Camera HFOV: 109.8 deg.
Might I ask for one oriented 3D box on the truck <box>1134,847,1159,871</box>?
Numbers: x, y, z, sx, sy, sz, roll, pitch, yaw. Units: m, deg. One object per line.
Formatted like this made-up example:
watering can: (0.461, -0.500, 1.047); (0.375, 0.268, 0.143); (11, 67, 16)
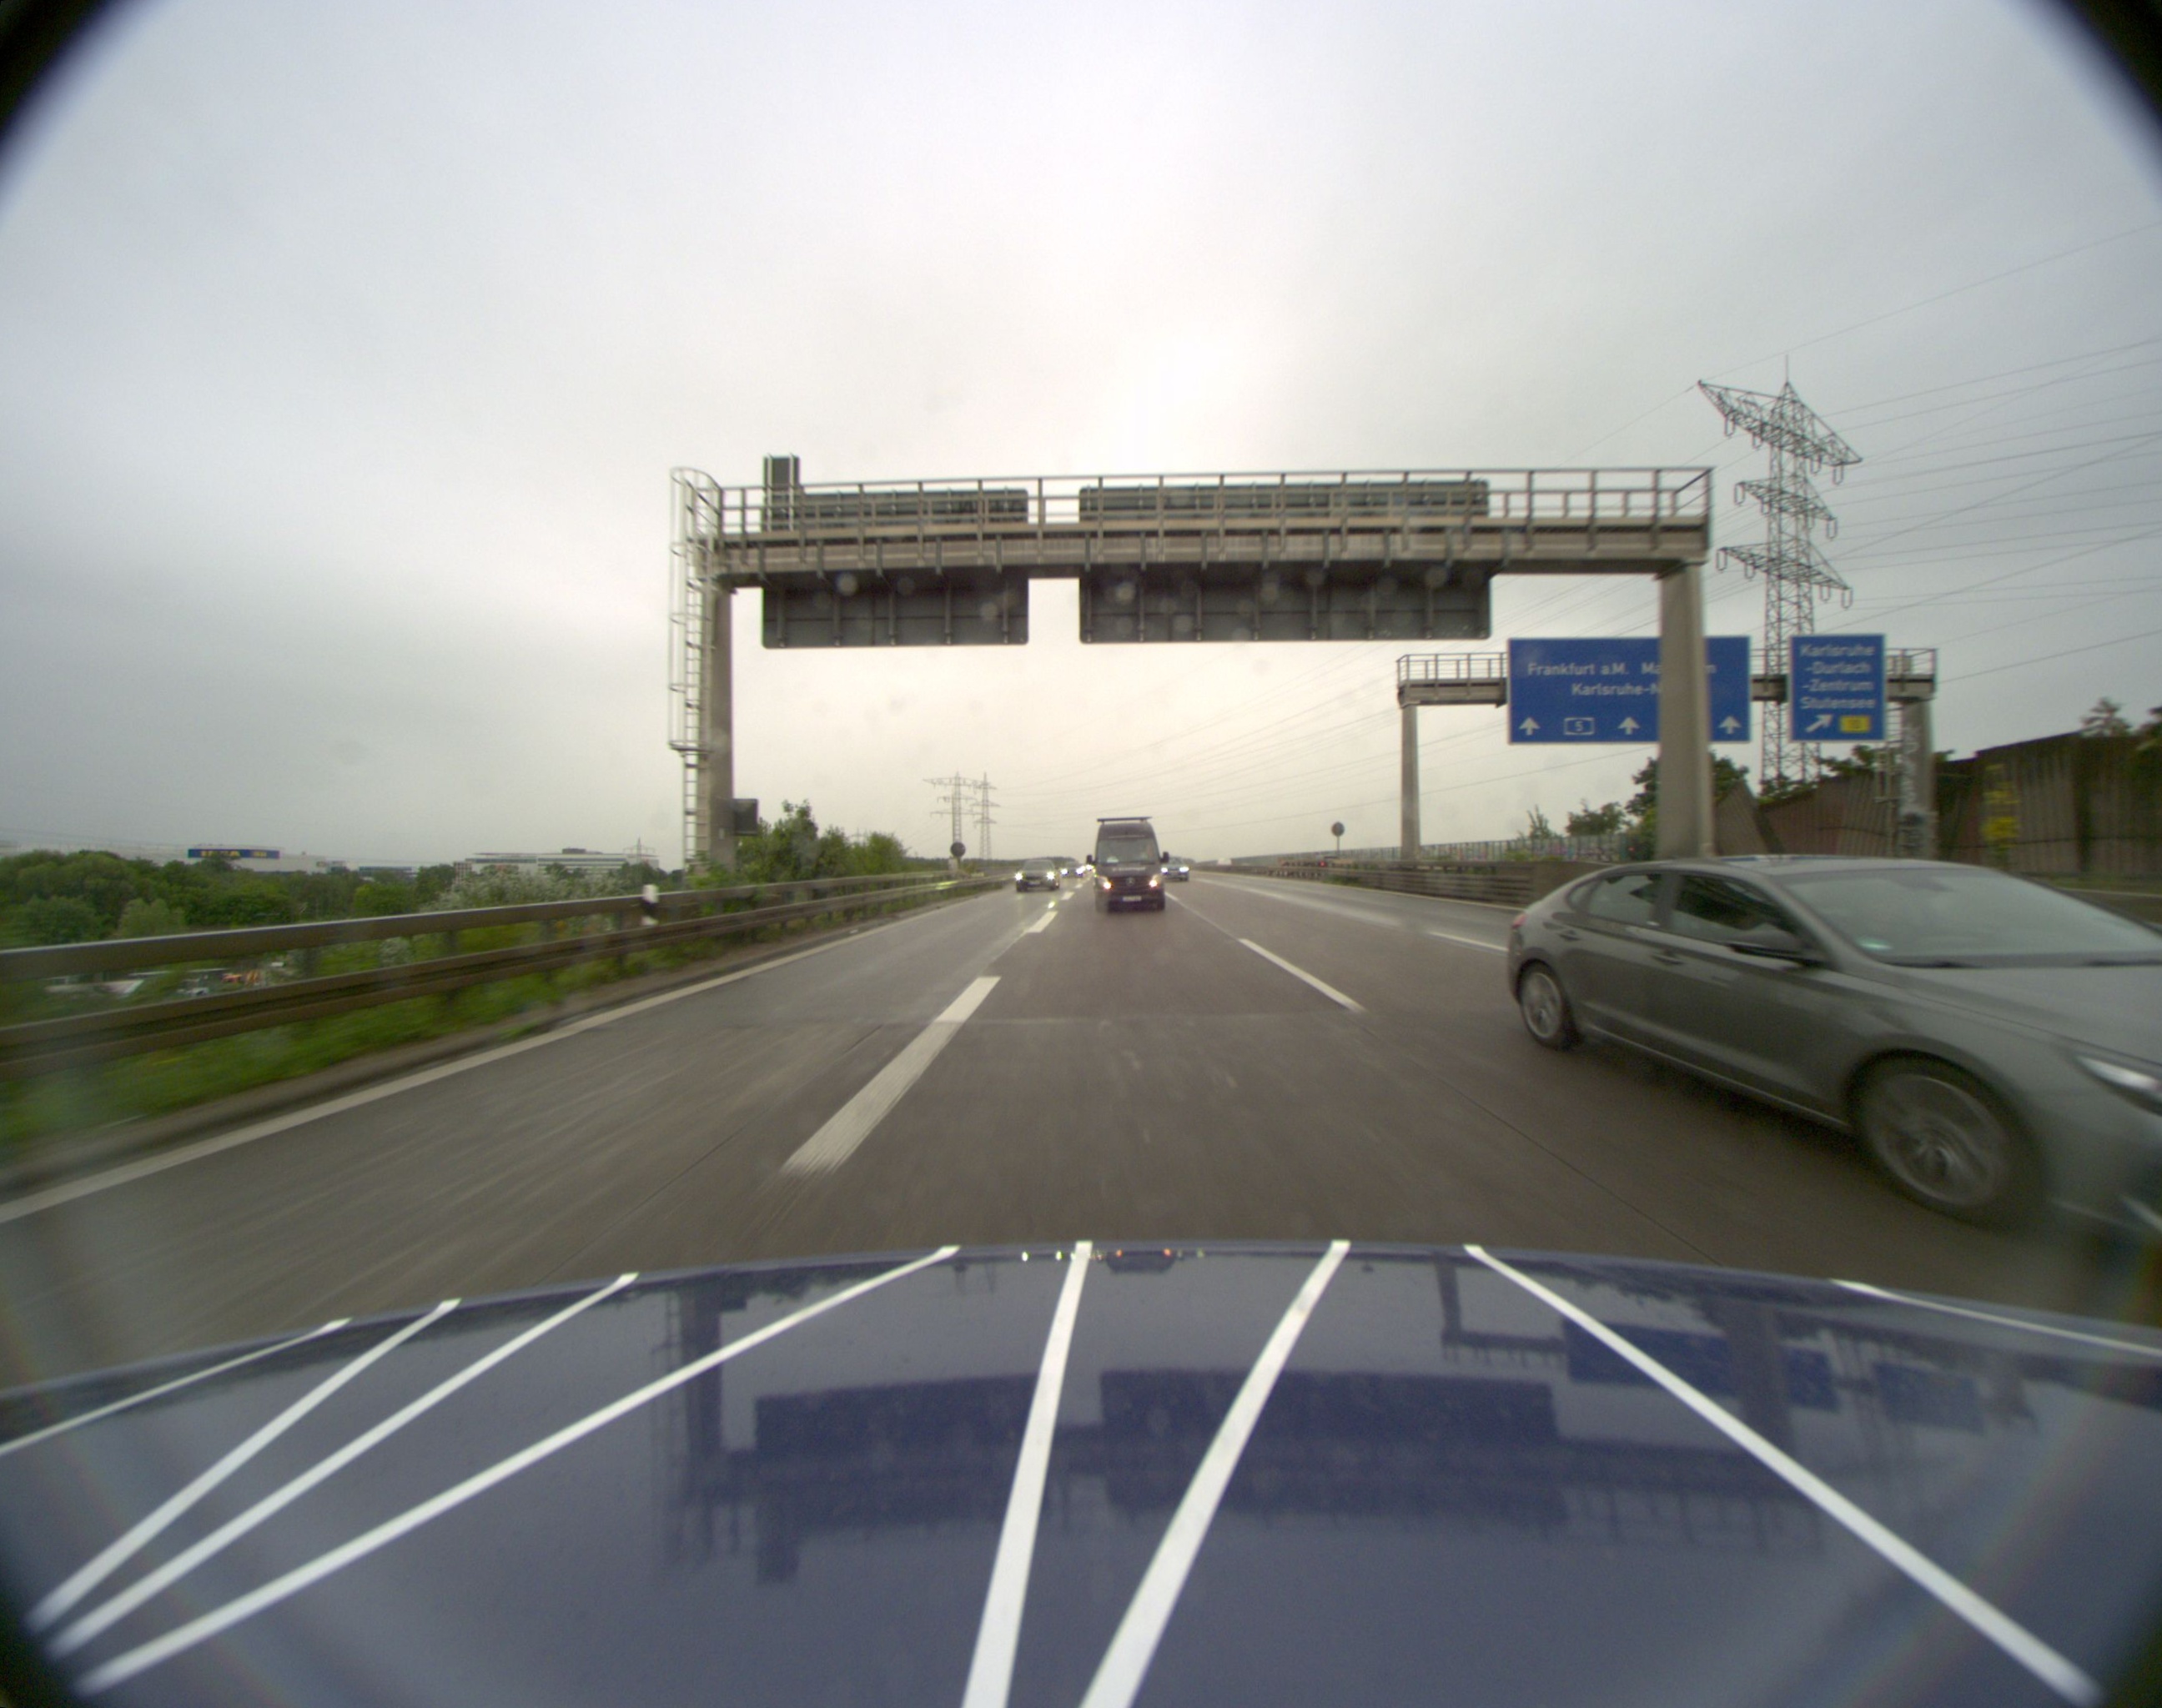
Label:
truck: (7.134, 0.510, 83.525); (2.243, 2.464, 6.583); (-3, 0, 1)

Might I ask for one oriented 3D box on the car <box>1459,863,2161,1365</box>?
car: (4.157, 0.823, 4.180); (1.730, 1.395, 4.828); (-2, 0, 0)

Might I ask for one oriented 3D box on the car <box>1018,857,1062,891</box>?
car: (-1.994, 0.956, 37.944); (1.862, 1.531, 4.203); (-2, 0, 1)

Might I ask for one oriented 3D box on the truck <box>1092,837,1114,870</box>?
truck: (3.015, -0.020, 104.621); (2.704, 4.170, 8.926); (-3, -1, 1)

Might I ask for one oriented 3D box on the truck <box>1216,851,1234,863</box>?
truck: (23.848, 0.519, 126.192); (1.998, 1.919, 5.250); (-1, 0, 1)

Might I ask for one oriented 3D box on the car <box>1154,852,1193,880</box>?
car: (5.795, 0.699, 48.143); (1.843, 1.585, 5.156); (-2, 1, 1)

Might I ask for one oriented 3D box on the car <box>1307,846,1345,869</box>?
car: (21.921, 0.296, 68.186); (1.998, 1.920, 4.171); (-3, 0, 1)

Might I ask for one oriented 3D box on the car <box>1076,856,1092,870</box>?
car: (0.353, 1.138, 99.141); (1.998, 1.706, 4.000); (0, 0, 1)

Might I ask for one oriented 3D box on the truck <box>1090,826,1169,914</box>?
truck: (1.342, 0.405, 23.530); (1.999, 2.324, 6.110); (-1, 1, 0)

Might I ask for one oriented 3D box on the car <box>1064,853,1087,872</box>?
car: (-0.496, 0.787, 70.372); (1.998, 1.706, 4.000); (0, 0, 1)
